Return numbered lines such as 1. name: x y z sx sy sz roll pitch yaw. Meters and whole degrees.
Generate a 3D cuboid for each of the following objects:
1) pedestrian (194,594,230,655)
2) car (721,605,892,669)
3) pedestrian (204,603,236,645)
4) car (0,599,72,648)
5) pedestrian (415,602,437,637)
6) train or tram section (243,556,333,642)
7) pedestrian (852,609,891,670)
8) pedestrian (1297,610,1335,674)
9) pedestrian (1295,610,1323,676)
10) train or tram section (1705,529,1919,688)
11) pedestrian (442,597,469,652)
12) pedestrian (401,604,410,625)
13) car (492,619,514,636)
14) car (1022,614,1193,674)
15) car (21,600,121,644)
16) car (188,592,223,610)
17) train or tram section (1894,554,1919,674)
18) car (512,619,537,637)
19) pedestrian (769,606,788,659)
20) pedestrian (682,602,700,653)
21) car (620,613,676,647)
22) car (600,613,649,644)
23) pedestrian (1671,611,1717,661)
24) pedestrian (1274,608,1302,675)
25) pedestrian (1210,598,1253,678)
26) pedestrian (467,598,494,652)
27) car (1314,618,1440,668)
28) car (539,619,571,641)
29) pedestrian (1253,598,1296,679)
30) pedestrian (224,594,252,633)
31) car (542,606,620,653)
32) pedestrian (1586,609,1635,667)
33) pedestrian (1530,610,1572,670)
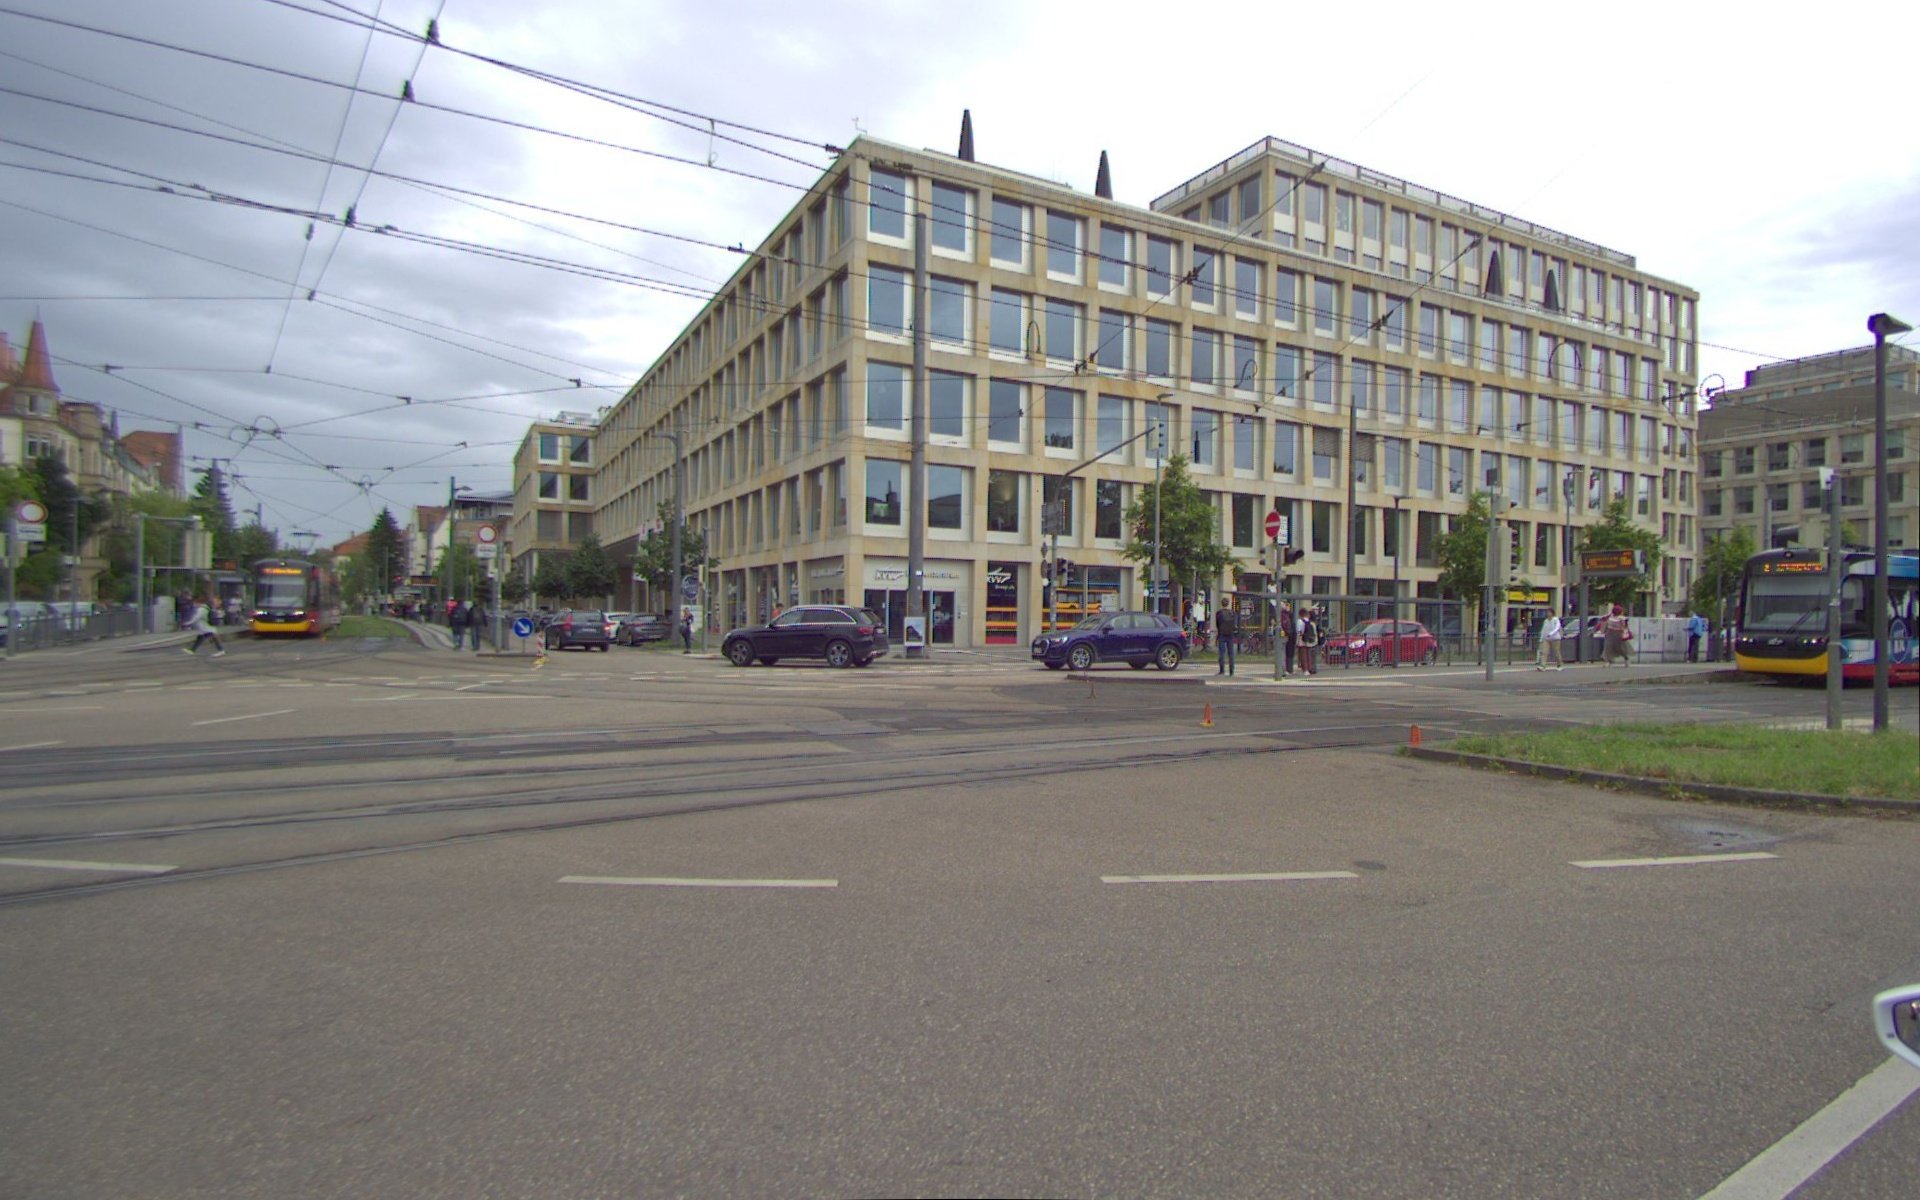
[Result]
1. pedestrian: -21.365 0.701 28.708 0.696 1.709 0.604 2 -1 -30
2. car: -4.139 0.964 27.299 4.233 1.620 1.745 0 -1 12
3. pedestrian: -36.138 1.178 49.078 1.111 2.040 1.061 2 -1 -32
4. car: -30.950 0.748 32.885 1.776 1.530 3.974 2 -2 -26
5. pedestrian: -31.827 1.144 59.839 1.057 2.040 1.114 2 -1 -30
6. train or tram section: -32.171 0.084 48.546 2.573 3.560 14.004 2 -2 -30
7. pedestrian: -3.035 1.333 34.387 0.986 2.040 1.038 2 -1 -29
8. pedestrian: 9.103 1.064 25.665 0.706 1.619 0.705 0 -1 40
9. pedestrian: 8.678 1.068 24.987 0.514 1.619 0.717 1 -1 7
10. train or tram section: 24.817 0.390 27.332 11.624 3.688 2.842 2 -1 -30
11. pedestrian: -16.618 0.819 33.057 0.677 1.777 0.851 2 -1 -33
12. pedestrian: -45.218 1.173 81.885 0.631 1.703 0.646 2 -1 -30
13. car: -41.447 2.471 91.145 1.699 1.439 3.272 1 -1 -27
14. car: 4.004 1.172 27.211 4.301 1.514 1.736 1 -1 -21
15. car: -33.505 0.826 37.996 1.776 1.530 3.974 2 -2 -26
16. car: -69.439 0.102 92.470 1.776 1.530 3.974 2 -2 -26
17. train or tram section: 34.944 0.590 32.868 11.553 3.688 2.843 2 -1 -28
18. car: -36.302 2.339 83.701 1.699 1.439 3.272 1 -1 -27
19. pedestrian: -6.214 1.109 34.426 0.457 1.818 0.412 2 -1 -38
20. pedestrian: -9.592 0.991 35.860 0.457 1.818 0.412 2 -1 -38
21. car: -13.820 1.309 44.350 1.773 1.439 3.678 1 -1 -27
22. car: -16.400 1.349 48.985 1.773 1.439 3.678 1 -1 -27
23. pedestrian: 23.853 1.172 32.639 0.895 1.606 0.846 1 -1 -15
24. pedestrian: 8.142 1.018 24.934 0.514 1.619 0.717 1 -1 7
25. pedestrian: 6.582 0.906 24.349 0.839 1.892 0.747 1 -1 28
26. pedestrian: -15.970 0.842 33.449 0.677 1.777 0.851 2 -1 -33
27. car: 12.999 1.319 31.307 3.724 1.468 1.731 1 -1 -30
28. car: -27.392 2.030 67.902 1.699 1.439 3.272 1 -1 -27
29. pedestrian: 7.484 0.911 23.904 0.839 1.892 0.747 1 -1 28
30. pedestrian: -38.948 0.727 54.182 1.111 2.040 1.061 2 -1 -32
31. car: -13.871 1.054 36.615 1.977 1.617 3.966 1 -1 -31
32. pedestrian: 18.715 1.087 28.884 0.838 1.606 0.904 2 -1 -30
33. pedestrian: 16.110 1.093 27.372 0.757 1.606 0.704 2 -1 -30
